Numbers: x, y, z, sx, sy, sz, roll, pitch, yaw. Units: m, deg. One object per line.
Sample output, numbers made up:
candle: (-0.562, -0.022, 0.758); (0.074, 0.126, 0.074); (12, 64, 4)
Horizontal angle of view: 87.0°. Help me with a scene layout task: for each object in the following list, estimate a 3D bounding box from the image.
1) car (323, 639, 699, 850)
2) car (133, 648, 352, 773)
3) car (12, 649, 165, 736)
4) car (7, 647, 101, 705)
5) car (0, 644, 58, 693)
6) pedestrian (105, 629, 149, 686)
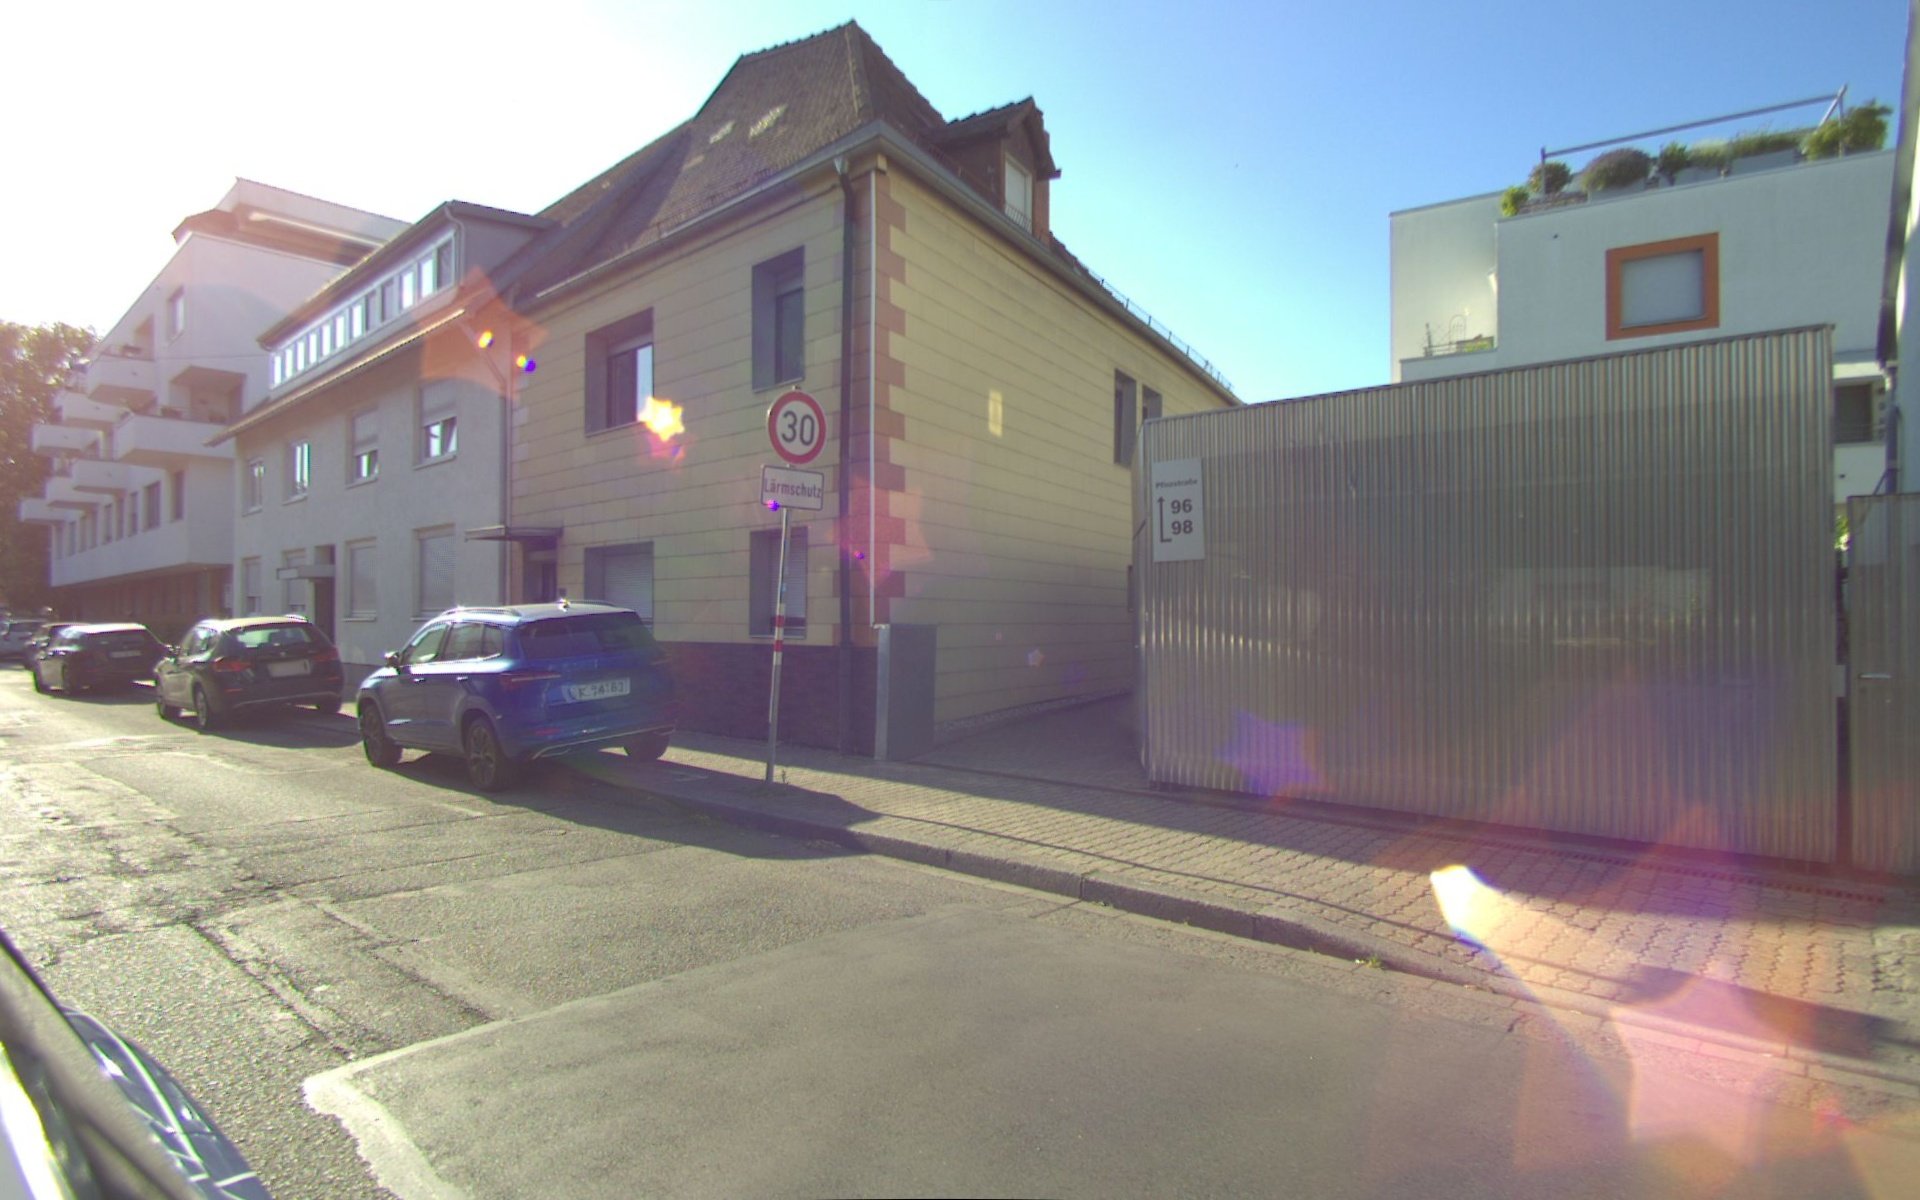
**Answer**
car: (-4.627, 1.266, 10.135); (4.190, 1.599, 1.790); (-3, -1, 41)
car: (-11.316, 1.598, 15.852); (4.334, 1.599, 1.838); (-2, -1, 42)
car: (-19.131, 1.940, 22.166); (4.327, 1.547, 1.669); (-1, 0, 37)
car: (-28.326, 2.321, 31.598); (3.854, 1.547, 1.651); (-1, 0, 40)
car: (-35.516, 2.530, 37.849); (4.614, 1.599, 1.840); (-1, 0, 38)
pedestrian: (-28.667, 1.955, 34.862); (0.849, 1.832, 1.136); (-3, 1, -26)
